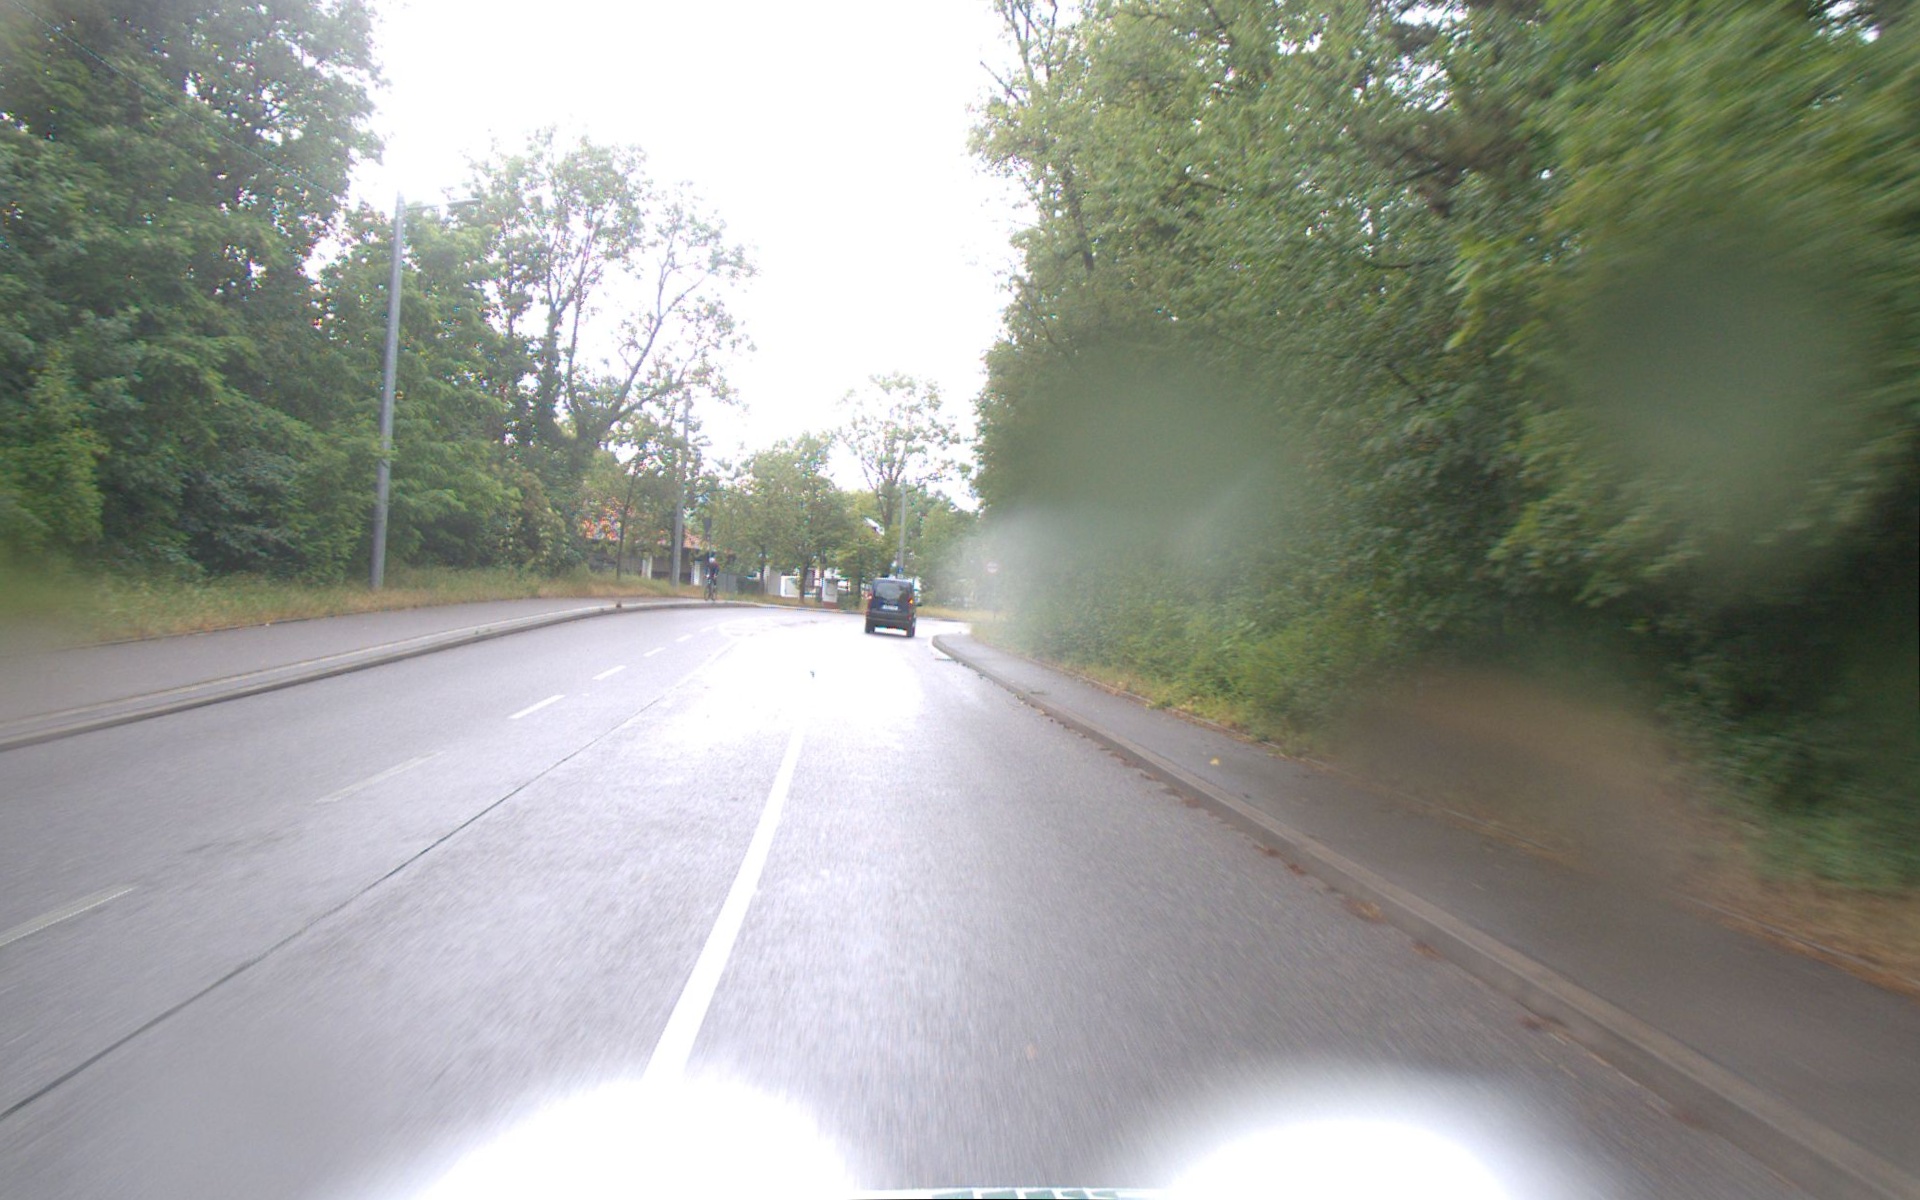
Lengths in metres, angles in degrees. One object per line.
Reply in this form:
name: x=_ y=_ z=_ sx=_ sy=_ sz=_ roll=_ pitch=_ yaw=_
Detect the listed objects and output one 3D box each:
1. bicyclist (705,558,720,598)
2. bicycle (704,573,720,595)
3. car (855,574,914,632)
bicyclist: x=-10.094 y=-0.891 z=67.502 sx=0.329 sy=1.601 sz=1.298 roll=3 pitch=0 yaw=0
bicycle: x=-10.121 y=-0.664 z=67.525 sx=0.348 sy=0.863 sz=2.093 roll=3 pitch=1 yaw=-1
car: x=-2.601 y=0.130 z=56.109 sx=1.792 sy=1.825 sz=3.994 roll=0 pitch=-2 yaw=-6
